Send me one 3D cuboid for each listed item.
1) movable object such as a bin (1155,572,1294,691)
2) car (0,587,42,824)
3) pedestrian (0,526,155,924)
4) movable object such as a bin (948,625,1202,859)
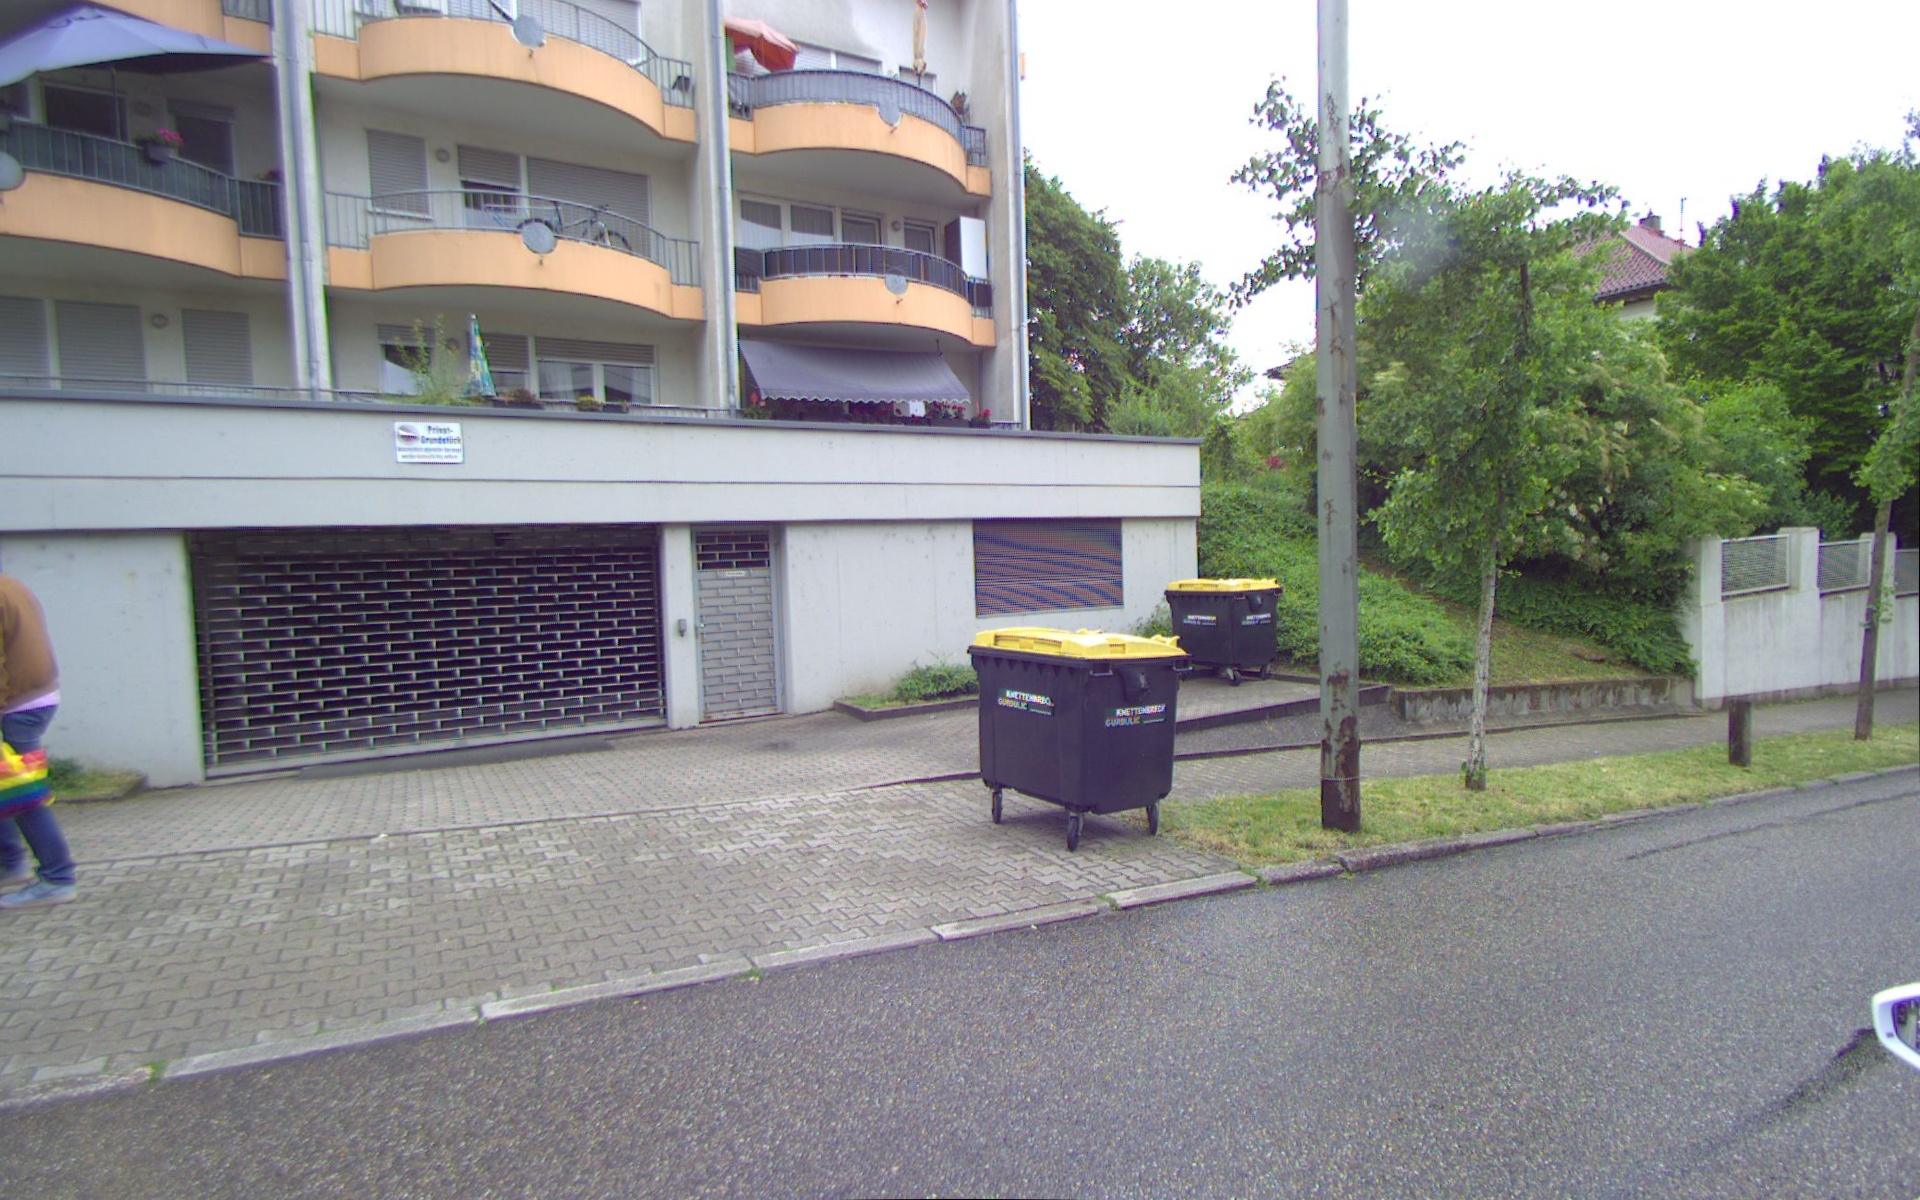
[{"bbox_3d":[3.527,0.372,13.402,1.215,1.383,1.289,-7,6,-36],"label":"movable object such as a bin"},{"bbox_3d":[-8.141,0.674,5.655,4.050,1.582,1.770,1,-4,-31],"label":"car"},{"bbox_3d":[-4.613,0.550,4.842,1.062,1.806,0.816,1,2,-35],"label":"pedestrian"},{"bbox_3d":[0.766,0.874,6.881,1.145,1.324,1.288,0,2,-38],"label":"movable object such as a bin"}]
